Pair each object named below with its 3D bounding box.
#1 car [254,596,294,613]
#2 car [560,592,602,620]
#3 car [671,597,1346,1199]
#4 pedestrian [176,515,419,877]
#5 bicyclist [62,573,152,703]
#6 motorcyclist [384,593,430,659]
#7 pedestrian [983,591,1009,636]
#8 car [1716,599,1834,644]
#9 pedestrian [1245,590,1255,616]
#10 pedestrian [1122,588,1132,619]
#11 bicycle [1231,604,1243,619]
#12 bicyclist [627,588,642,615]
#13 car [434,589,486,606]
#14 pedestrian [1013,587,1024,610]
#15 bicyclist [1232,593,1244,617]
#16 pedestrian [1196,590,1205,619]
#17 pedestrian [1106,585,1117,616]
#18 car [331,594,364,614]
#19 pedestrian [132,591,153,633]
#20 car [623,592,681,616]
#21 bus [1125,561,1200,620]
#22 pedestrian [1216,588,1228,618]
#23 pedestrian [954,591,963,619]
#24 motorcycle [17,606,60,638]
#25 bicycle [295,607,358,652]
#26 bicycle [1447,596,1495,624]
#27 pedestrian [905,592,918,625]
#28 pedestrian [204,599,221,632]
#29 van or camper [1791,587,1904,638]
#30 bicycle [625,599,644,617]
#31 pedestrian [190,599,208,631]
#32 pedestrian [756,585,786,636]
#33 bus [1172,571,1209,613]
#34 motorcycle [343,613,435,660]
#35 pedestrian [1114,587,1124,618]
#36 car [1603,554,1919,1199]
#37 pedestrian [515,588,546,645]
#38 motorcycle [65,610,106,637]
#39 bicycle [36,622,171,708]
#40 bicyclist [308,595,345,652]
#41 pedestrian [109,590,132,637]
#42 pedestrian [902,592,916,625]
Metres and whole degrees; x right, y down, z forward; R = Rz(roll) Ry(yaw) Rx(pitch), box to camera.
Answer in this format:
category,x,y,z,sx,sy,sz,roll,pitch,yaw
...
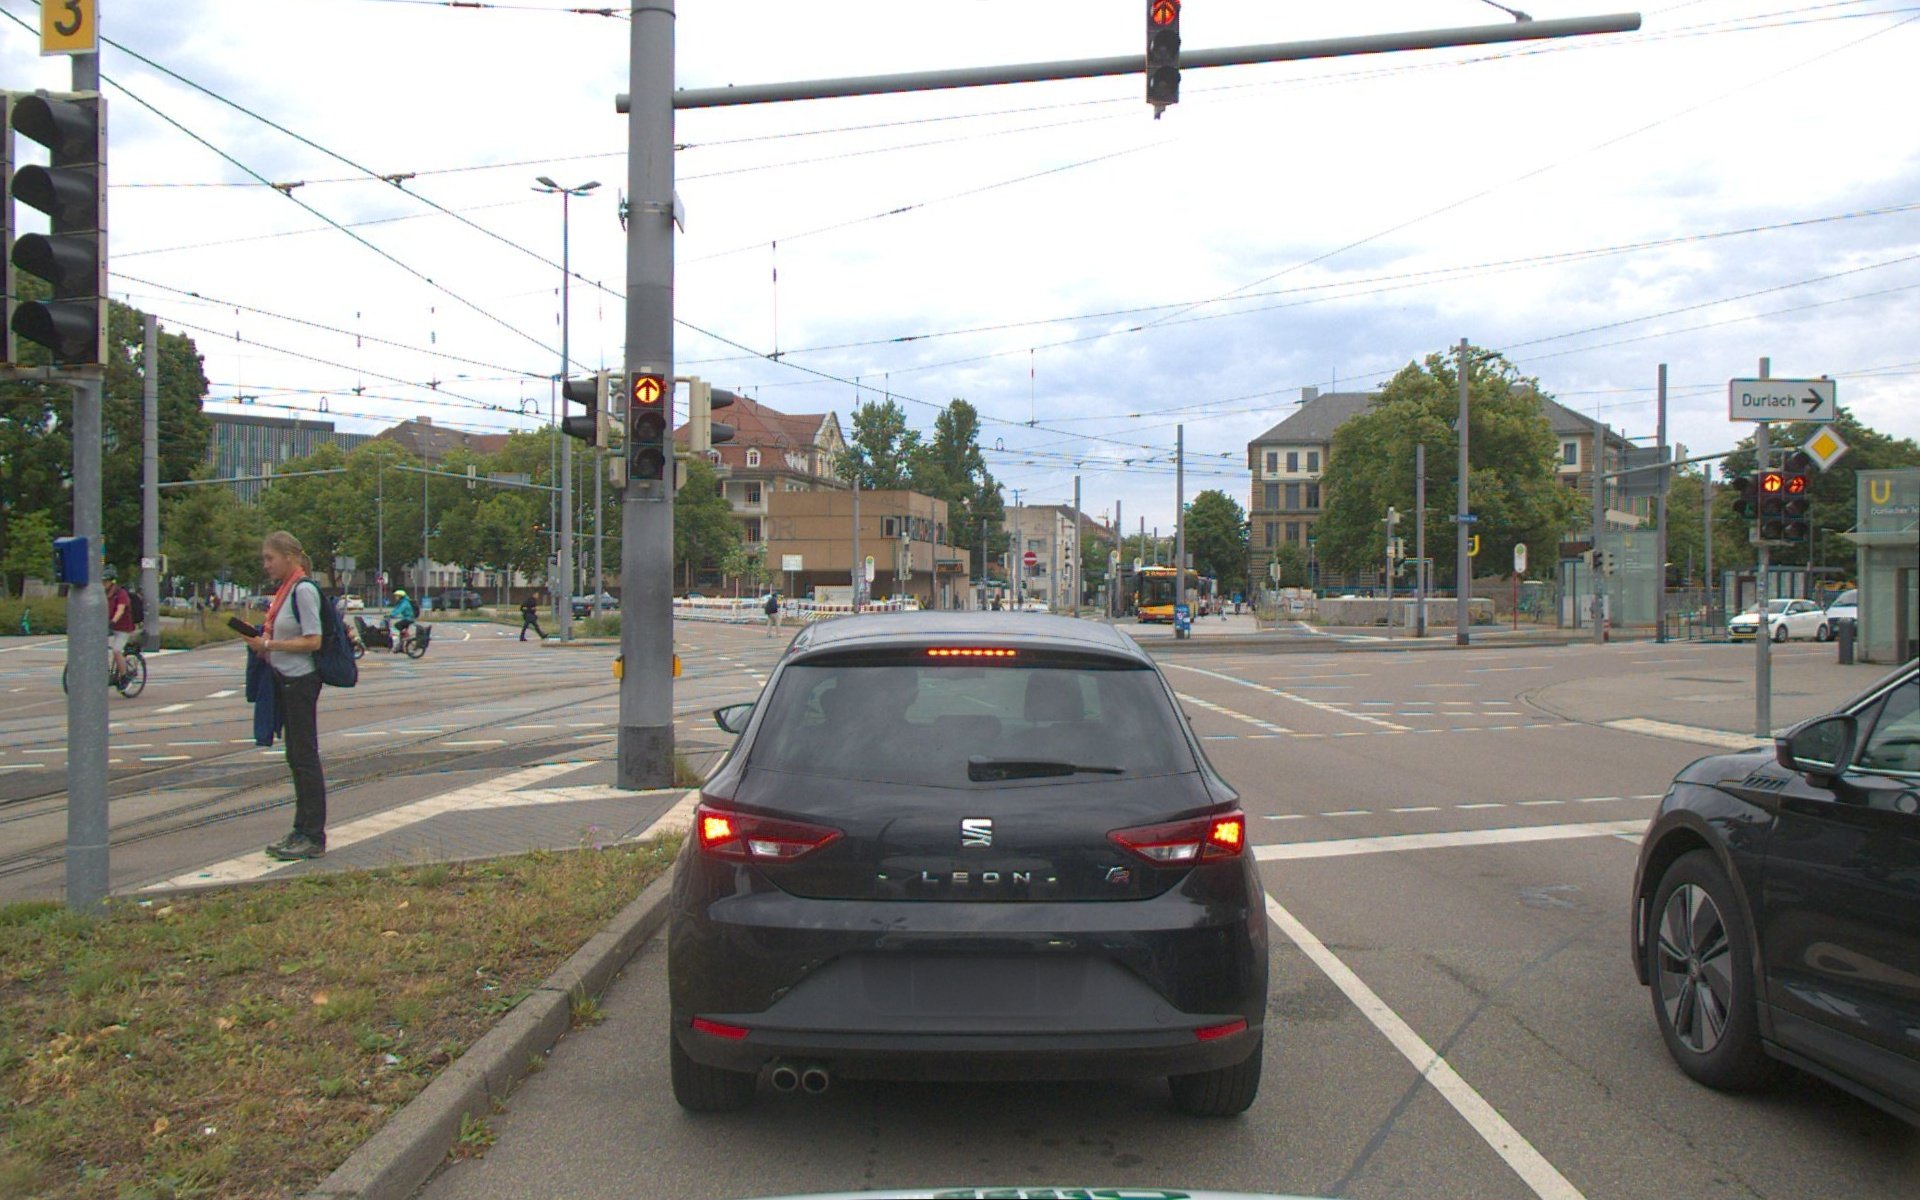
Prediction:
category,x,y,z,sx,sy,sz,roll,pitch,yaw
car,-59.132,0.392,142.542,3.930,1.489,1.770,0,0,43
car,-23.944,0.388,104.386,1.966,1.713,3.973,0,-1,-22
car,-0.016,0.734,5.976,1.671,1.474,3.808,0,0,-5
pedestrian,-3.794,0.517,9.494,1.096,1.940,0.724,1,-1,-44
bicyclist,-12.878,0.558,24.991,0.759,1.931,0.998,0,0,8
motorcyclist,-14.249,0.663,42.601,0.968,1.678,0.741,0,-1,-34
pedestrian,1.596,0.608,73.560,0.687,1.968,1.026,0,0,38
car,27.504,0.730,55.793,3.948,1.490,1.756,0,-1,-32
pedestrian,23.125,0.238,131.950,0.648,2.049,0.691,0,0,-1
pedestrian,10.585,0.197,104.809,0.608,1.951,0.699,0,0,9
bicycle,21.143,0.841,126.062,0.847,1.124,2.304,0,0,11
bicyclist,-21.498,0.089,109.237,0.870,1.762,0.888,0,0,-22
car,-42.249,-0.215,139.743,3.905,1.489,1.782,0,0,22
pedestrian,4.864,-0.118,137.562,0.609,1.952,0.710,-1,-1,25
bicyclist,21.188,0.380,126.225,0.852,1.884,1.048,0,0,12
pedestrian,16.202,0.301,111.432,0.519,1.917,0.597,0,0,-1
pedestrian,9.545,0.027,104.260,0.608,1.951,0.699,0,0,9
car,-57.034,0.342,153.959,1.700,1.803,3.943,0,0,-39
pedestrian,-39.508,0.589,79.955,0.787,2.016,0.870,1,-2,-35
car,-22.849,0.328,122.672,3.905,1.713,2.000,0,-1,0
bus,11.560,-0.522,93.631,2.897,3.178,11.548,0,0,14
pedestrian,16.612,0.178,104.866,0.583,1.917,0.531,0,0,26
pedestrian,-0.117,0.339,113.995,0.608,1.951,0.711,0,0,2
motorcycle,-37.892,0.885,68.000,0.503,1.290,1.463,0,0,43
bicycle,-19.382,0.897,50.648,0.633,1.345,1.726,0,0,41
bicycle,25.529,0.494,82.635,2.214,1.354,0.707,-1,-1,6
pedestrian,-2.869,0.509,97.315,0.693,1.951,0.624,0,0,7
pedestrian,-46.820,0.975,103.622,0.865,2.016,0.791,0,-1,-19
van or camper,32.120,0.468,59.839,4.257,1.773,1.974,0,-1,-36
bicycle,-21.512,0.523,109.256,0.879,1.199,2.286,0,0,-22
pedestrian,-47.944,0.958,104.215,0.863,2.016,0.793,0,-1,-14
pedestrian,-7.433,0.402,65.120,1.015,1.968,0.695,0,0,-26
bus,19.162,-0.654,136.959,2.597,3.340,11.004,0,0,10
motorcycle,-14.607,0.916,42.338,2.115,1.159,0.735,0,0,-34
pedestrian,10.185,0.170,105.726,0.608,1.951,0.711,0,0,2
car,3.270,0.702,3.768,1.741,1.625,4.508,0,0,-2
pedestrian,-15.655,0.590,60.257,1.006,2.049,0.841,0,0,-20
motorcycle,-36.973,0.987,69.942,0.499,1.130,1.746,0,0,12
bicycle,-12.879,0.955,24.948,0.758,1.205,2.034,0,0,8
bicyclist,-19.398,0.710,50.626,0.642,1.702,0.852,0,0,41
pedestrian,-36.296,0.590,71.492,0.787,2.016,0.870,1,-2,-35
pedestrian,-2.986,0.495,96.517,0.693,1.951,0.624,0,0,7
